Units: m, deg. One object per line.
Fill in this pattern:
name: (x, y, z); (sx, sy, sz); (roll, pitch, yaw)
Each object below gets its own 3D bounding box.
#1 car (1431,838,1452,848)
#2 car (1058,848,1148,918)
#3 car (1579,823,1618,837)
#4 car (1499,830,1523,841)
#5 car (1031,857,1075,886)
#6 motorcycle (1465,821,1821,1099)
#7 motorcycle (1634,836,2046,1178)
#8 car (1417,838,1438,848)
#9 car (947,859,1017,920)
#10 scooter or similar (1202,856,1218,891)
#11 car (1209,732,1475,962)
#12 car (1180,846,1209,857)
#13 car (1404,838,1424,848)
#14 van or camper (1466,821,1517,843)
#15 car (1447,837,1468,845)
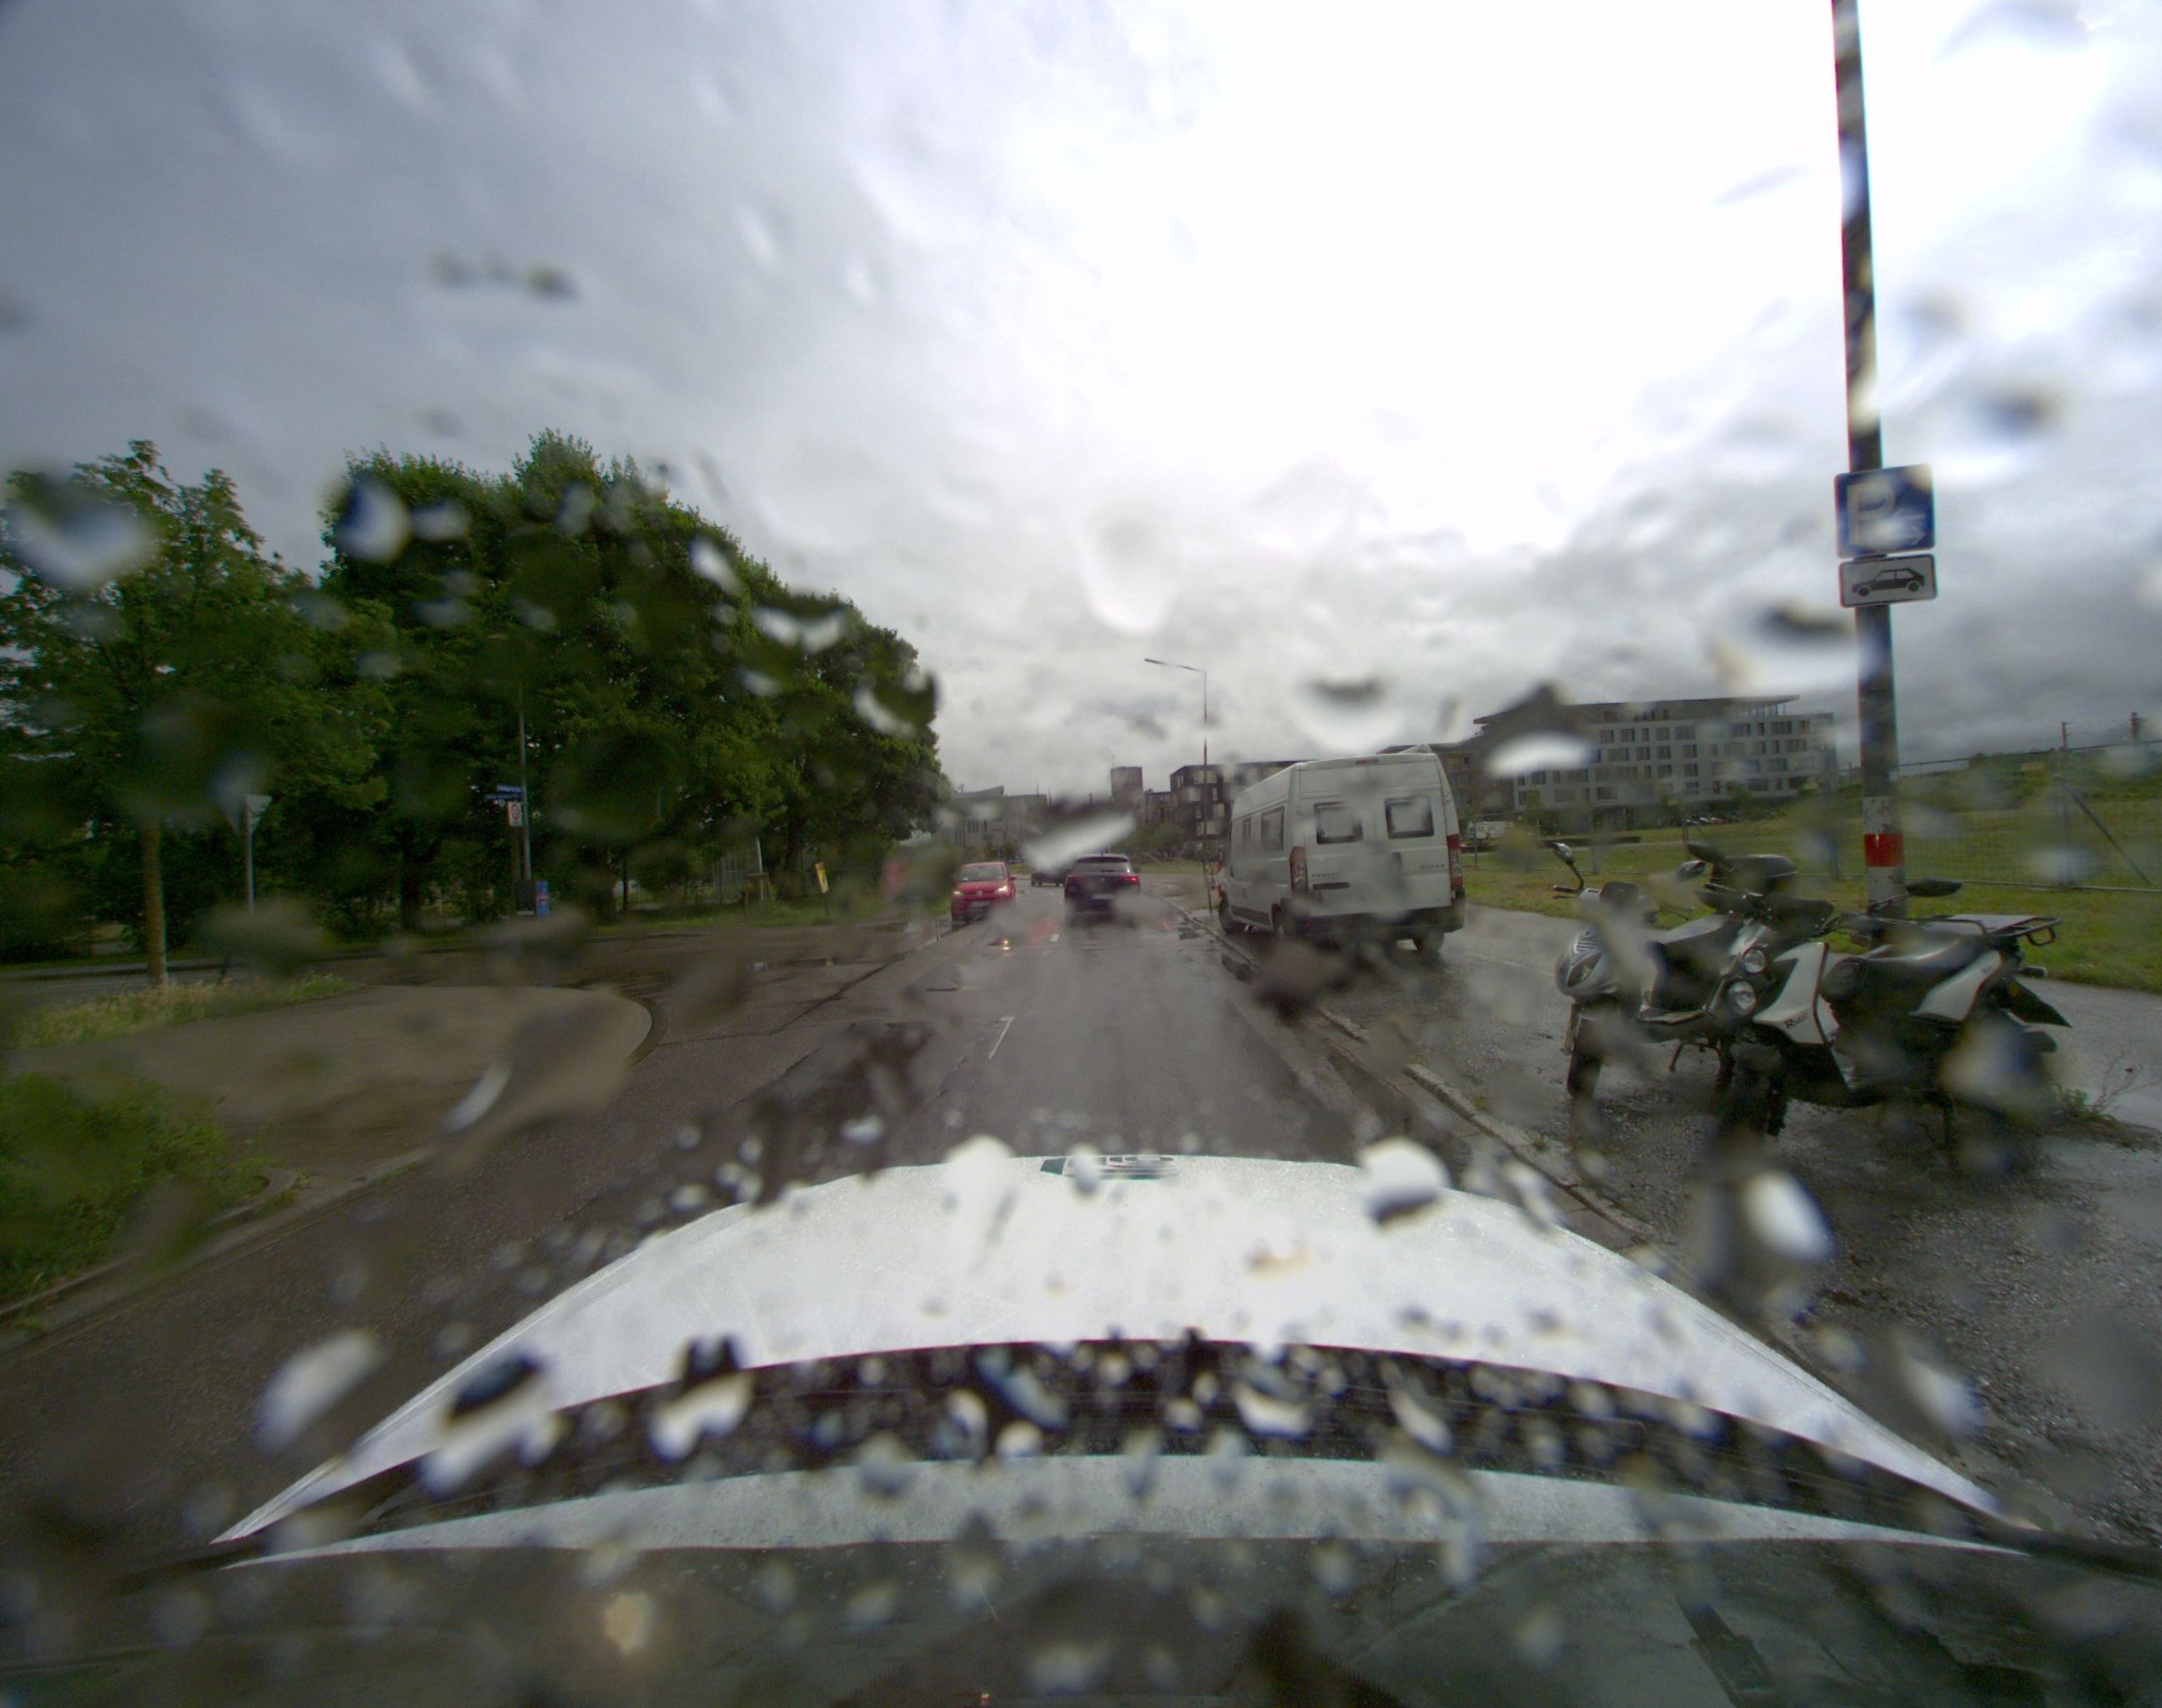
car: (60.550, -1.899, 136.819); (1.541, 1.615, 3.835); (0, -1, -5)
car: (0.543, 0.659, 20.004); (1.979, 1.520, 4.001); (0, -1, 2)
car: (79.080, -3.629, 124.443); (4.782, 2.014, 1.999); (0, -1, -1)
car: (72.811, -3.105, 137.951); (1.777, 1.615, 3.835); (0, -1, -5)
car: (-1.659, 0.992, 46.516); (1.842, 1.442, 3.984); (-3, 0, -11)
motorcycle: (3.363, 0.578, 4.944); (1.643, 1.374, 0.719); (-6, 0, -10)
motorcycle: (3.550, 0.611, 3.811); (1.677, 1.195, 0.644); (-6, -1, -21)
car: (57.997, -1.883, 136.442); (1.541, 1.615, 3.835); (0, -1, -5)
car: (-2.702, 0.931, 22.747); (1.653, 1.468, 3.385); (-3, 0, -4)
scooter or similar: (4.761, 0.711, 30.120); (0.488, 1.215, 1.344); (-3, 0, 10)
car: (3.460, -0.059, 12.326); (2.084, 2.472, 5.949); (-5, -1, 2)
car: (17.100, -0.364, 122.610); (3.985, 1.728, 1.994); (0, -1, -9)
car: (55.553, -1.869, 135.974); (1.541, 1.615, 3.835); (0, -1, -5)
van or camper: (63.880, -3.415, 126.699); (6.765, 3.201, 2.526); (0, -1, -5)
car: (63.267, -2.131, 136.957); (1.544, 1.296, 3.897); (0, -1, -5)
